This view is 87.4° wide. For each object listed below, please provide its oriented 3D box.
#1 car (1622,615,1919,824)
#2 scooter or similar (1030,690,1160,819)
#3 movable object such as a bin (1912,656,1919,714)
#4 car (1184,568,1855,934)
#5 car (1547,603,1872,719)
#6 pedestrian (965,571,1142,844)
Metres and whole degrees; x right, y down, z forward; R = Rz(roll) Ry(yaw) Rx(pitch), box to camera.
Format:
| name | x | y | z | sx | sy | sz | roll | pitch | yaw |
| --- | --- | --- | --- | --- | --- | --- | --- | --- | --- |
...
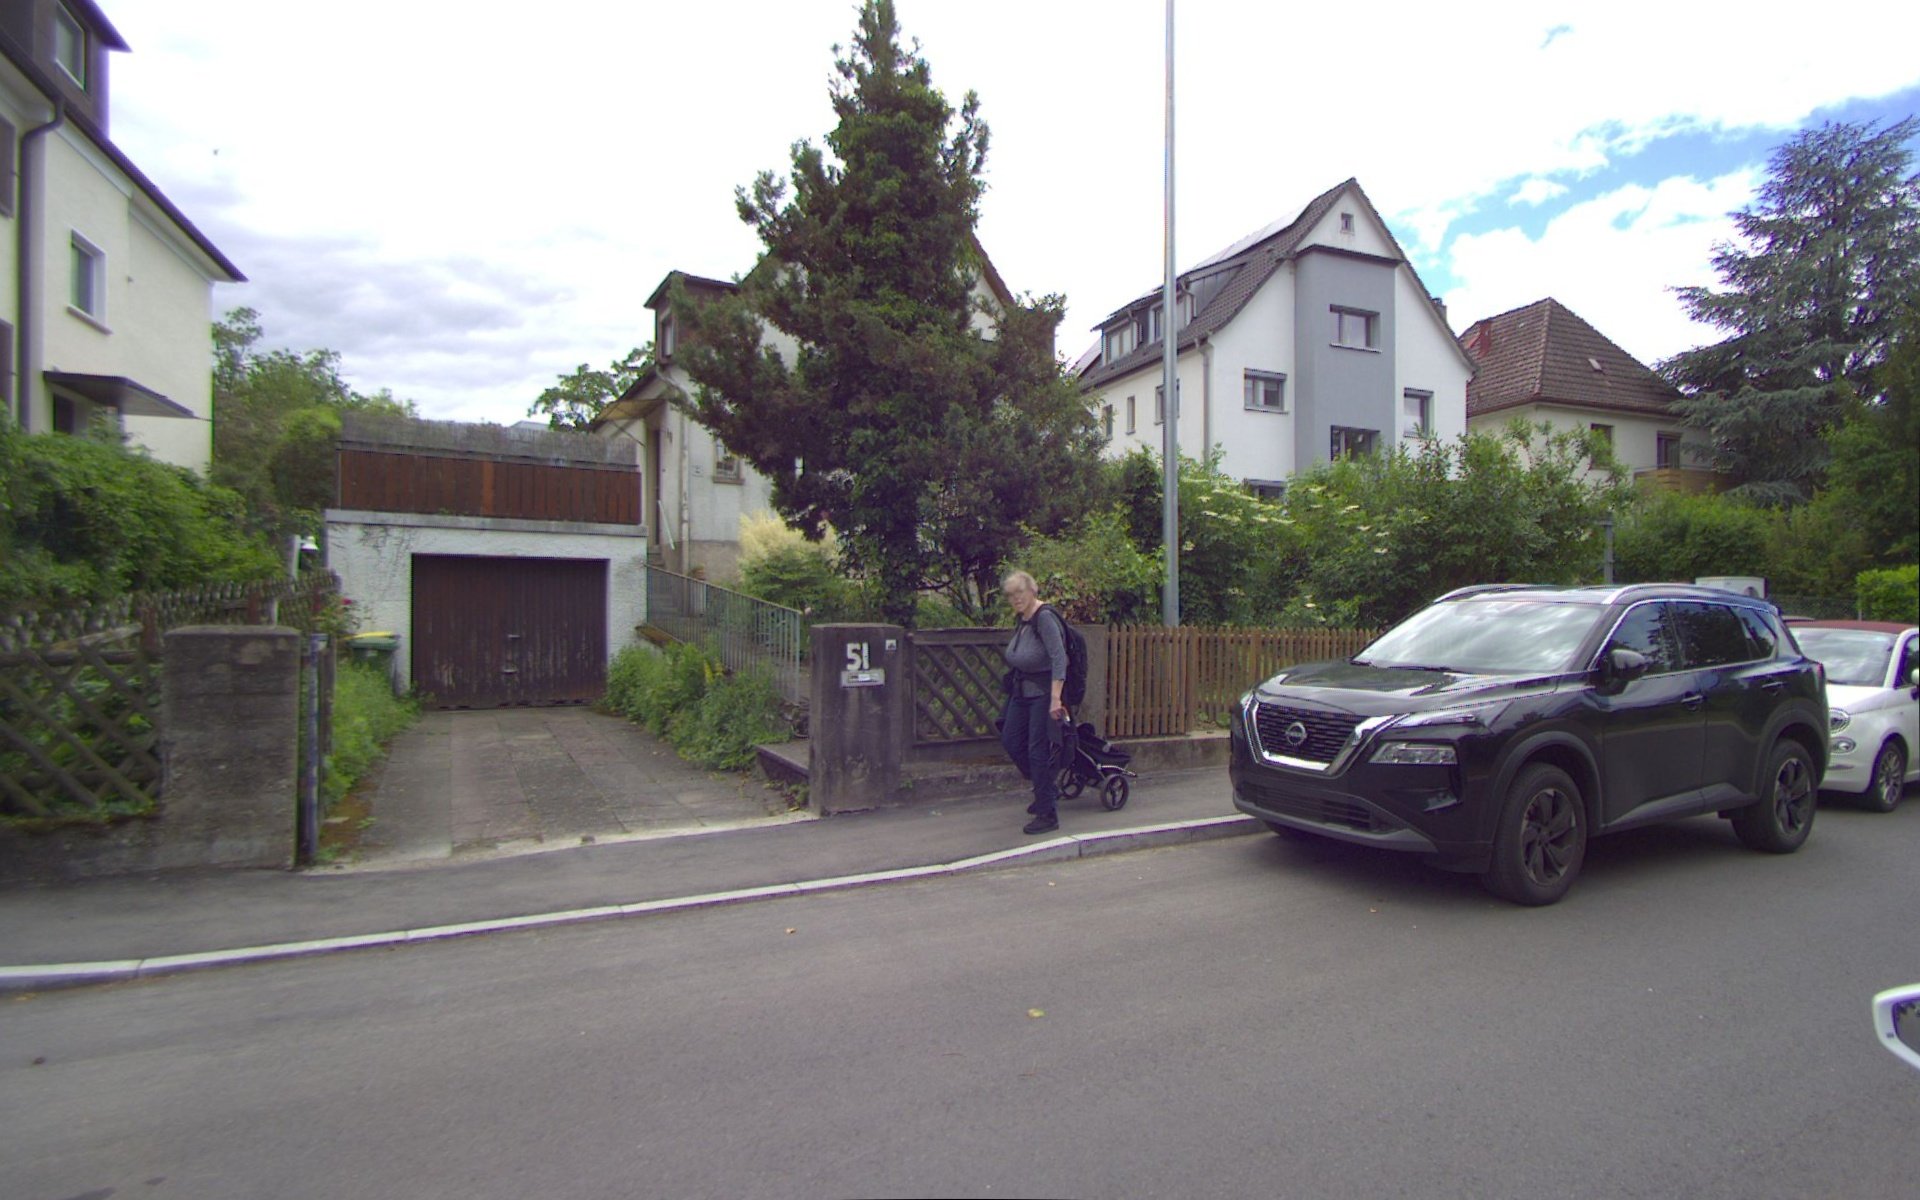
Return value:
| name | x | y | z | sx | sy | sz | roll | pitch | yaw |
| --- | --- | --- | --- | --- | --- | --- | --- | --- | --- |
| car | 8.057 | 0.950 | 9.279 | 3.900 | 1.531 | 1.698 | 1 | 0 | -30 |
| scooter or similar | 0.952 | 1.066 | 7.114 | 0.703 | 0.789 | 0.568 | 1 | 0 | -32 |
| movable object such as a bin | 16.182 | 1.407 | 16.493 | 0.646 | 0.934 | 0.627 | 1 | 0 | -29 |
| car | 3.709 | 0.735 | 6.484 | 4.339 | 1.686 | 1.783 | 1 | 0 | -30 |
| car | 12.054 | 0.894 | 16.516 | 1.811 | 1.568 | 3.987 | 1 | 1 | -15 |
| pedestrian | 0.584 | 0.633 | 6.399 | 0.810 | 1.595 | 0.766 | 1 | 0 | -29 |
